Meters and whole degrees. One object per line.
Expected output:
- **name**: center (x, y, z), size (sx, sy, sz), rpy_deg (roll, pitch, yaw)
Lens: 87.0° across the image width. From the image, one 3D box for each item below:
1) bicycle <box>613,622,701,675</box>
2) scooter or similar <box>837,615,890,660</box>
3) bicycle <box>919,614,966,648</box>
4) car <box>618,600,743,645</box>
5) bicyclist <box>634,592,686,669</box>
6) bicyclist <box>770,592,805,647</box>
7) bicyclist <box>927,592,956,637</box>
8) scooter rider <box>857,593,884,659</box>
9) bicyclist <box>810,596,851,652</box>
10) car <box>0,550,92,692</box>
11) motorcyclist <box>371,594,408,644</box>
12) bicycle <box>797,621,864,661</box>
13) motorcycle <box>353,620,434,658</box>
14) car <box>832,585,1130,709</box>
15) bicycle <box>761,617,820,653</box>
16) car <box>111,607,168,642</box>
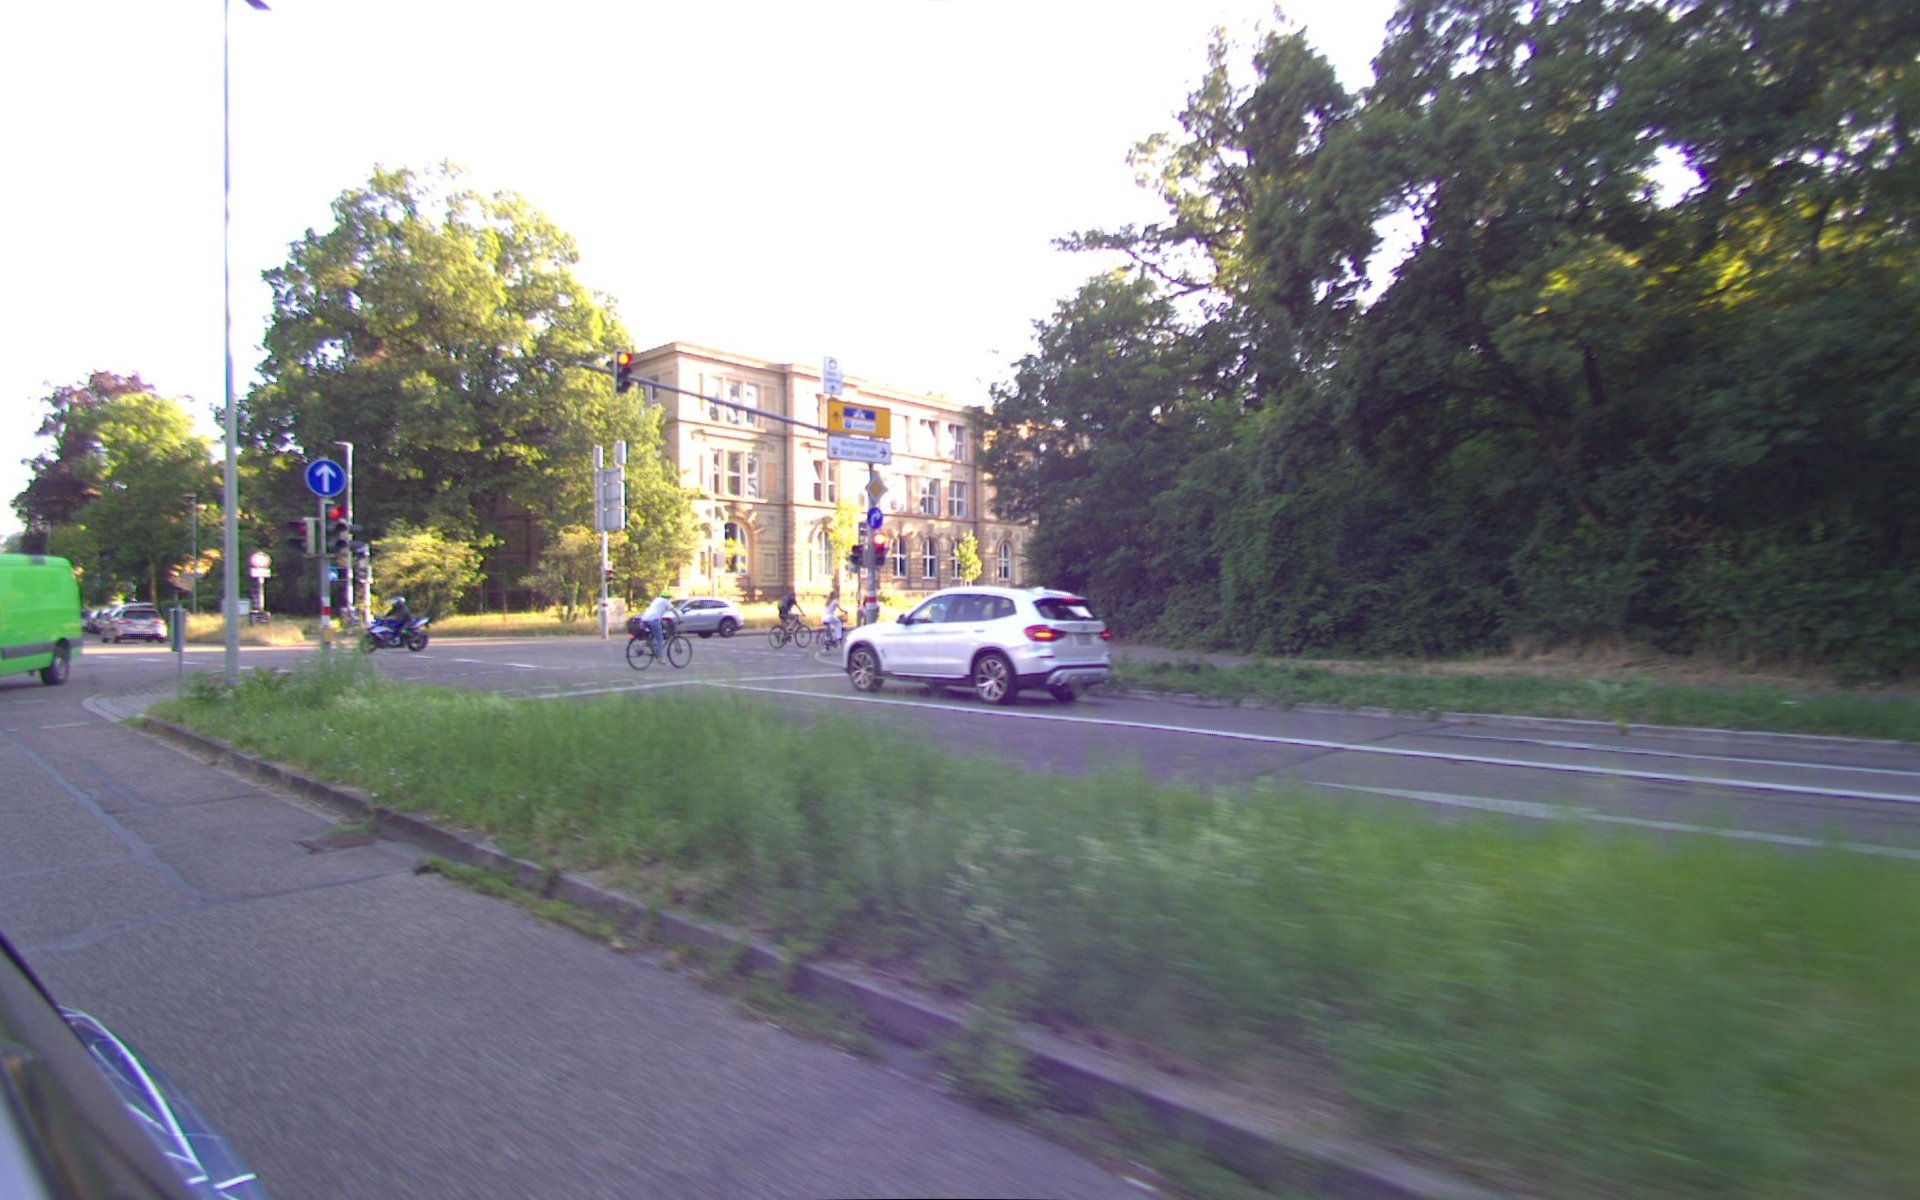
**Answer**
- **bicycle**: center (-6.363, 0.996, 21.305), size (0.565, 1.022, 1.779), rpy_deg (-1, -1, 38)
- **scooter or similar**: center (-2.619, 1.004, 27.513), size (0.564, 1.198, 1.402), rpy_deg (-1, -1, 43)
- **bicycle**: center (-0.620, 1.084, 36.365), size (0.615, 1.146, 1.858), rpy_deg (0, 1, 42)
- **car**: center (-10.974, 0.843, 39.911), size (4.444, 1.648, 1.772), rpy_deg (0, -1, -43)
- **bicyclist**: center (-6.334, 0.632, 21.356), size (0.555, 1.581, 0.887), rpy_deg (-1, -1, 39)
- **bicyclist**: center (-5.383, 0.589, 31.588), size (0.700, 1.679, 0.787), rpy_deg (0, 0, 42)
- **bicyclist**: center (-0.649, 0.524, 36.347), size (0.605, 1.598, 0.897), rpy_deg (0, 0, 42)
- **scooter rider**: center (-2.446, 0.702, 27.698), size (0.567, 1.780, 0.498), rpy_deg (-1, -1, 43)
- **bicyclist**: center (-3.586, 0.657, 28.059), size (0.760, 1.529, 0.847), rpy_deg (0, 0, 33)
- **car**: center (-16.694, 0.351, 16.491), size (2.010, 2.295, 5.960), rpy_deg (0, 0, -21)
- **motorcyclist**: center (-16.008, 0.536, 28.382), size (0.752, 1.368, 0.694), rpy_deg (-2, -1, 42)
- **bicycle**: center (-3.568, 1.105, 28.071), size (0.771, 1.014, 1.994), rpy_deg (0, 0, 32)
- **motorcycle**: center (-15.922, 1.072, 28.456), size (0.756, 1.009, 1.853), rpy_deg (-1, -1, 42)
- **car**: center (0.174, 0.671, 15.585), size (1.800, 1.625, 4.643), rpy_deg (3, -3, -45)
- **bicycle**: center (-5.291, 1.075, 31.698), size (0.701, 1.071, 1.800), rpy_deg (0, 0, 41)
- **car**: center (-46.082, 1.371, 56.823), size (4.119, 1.859, 1.837), rpy_deg (-1, -1, 41)
